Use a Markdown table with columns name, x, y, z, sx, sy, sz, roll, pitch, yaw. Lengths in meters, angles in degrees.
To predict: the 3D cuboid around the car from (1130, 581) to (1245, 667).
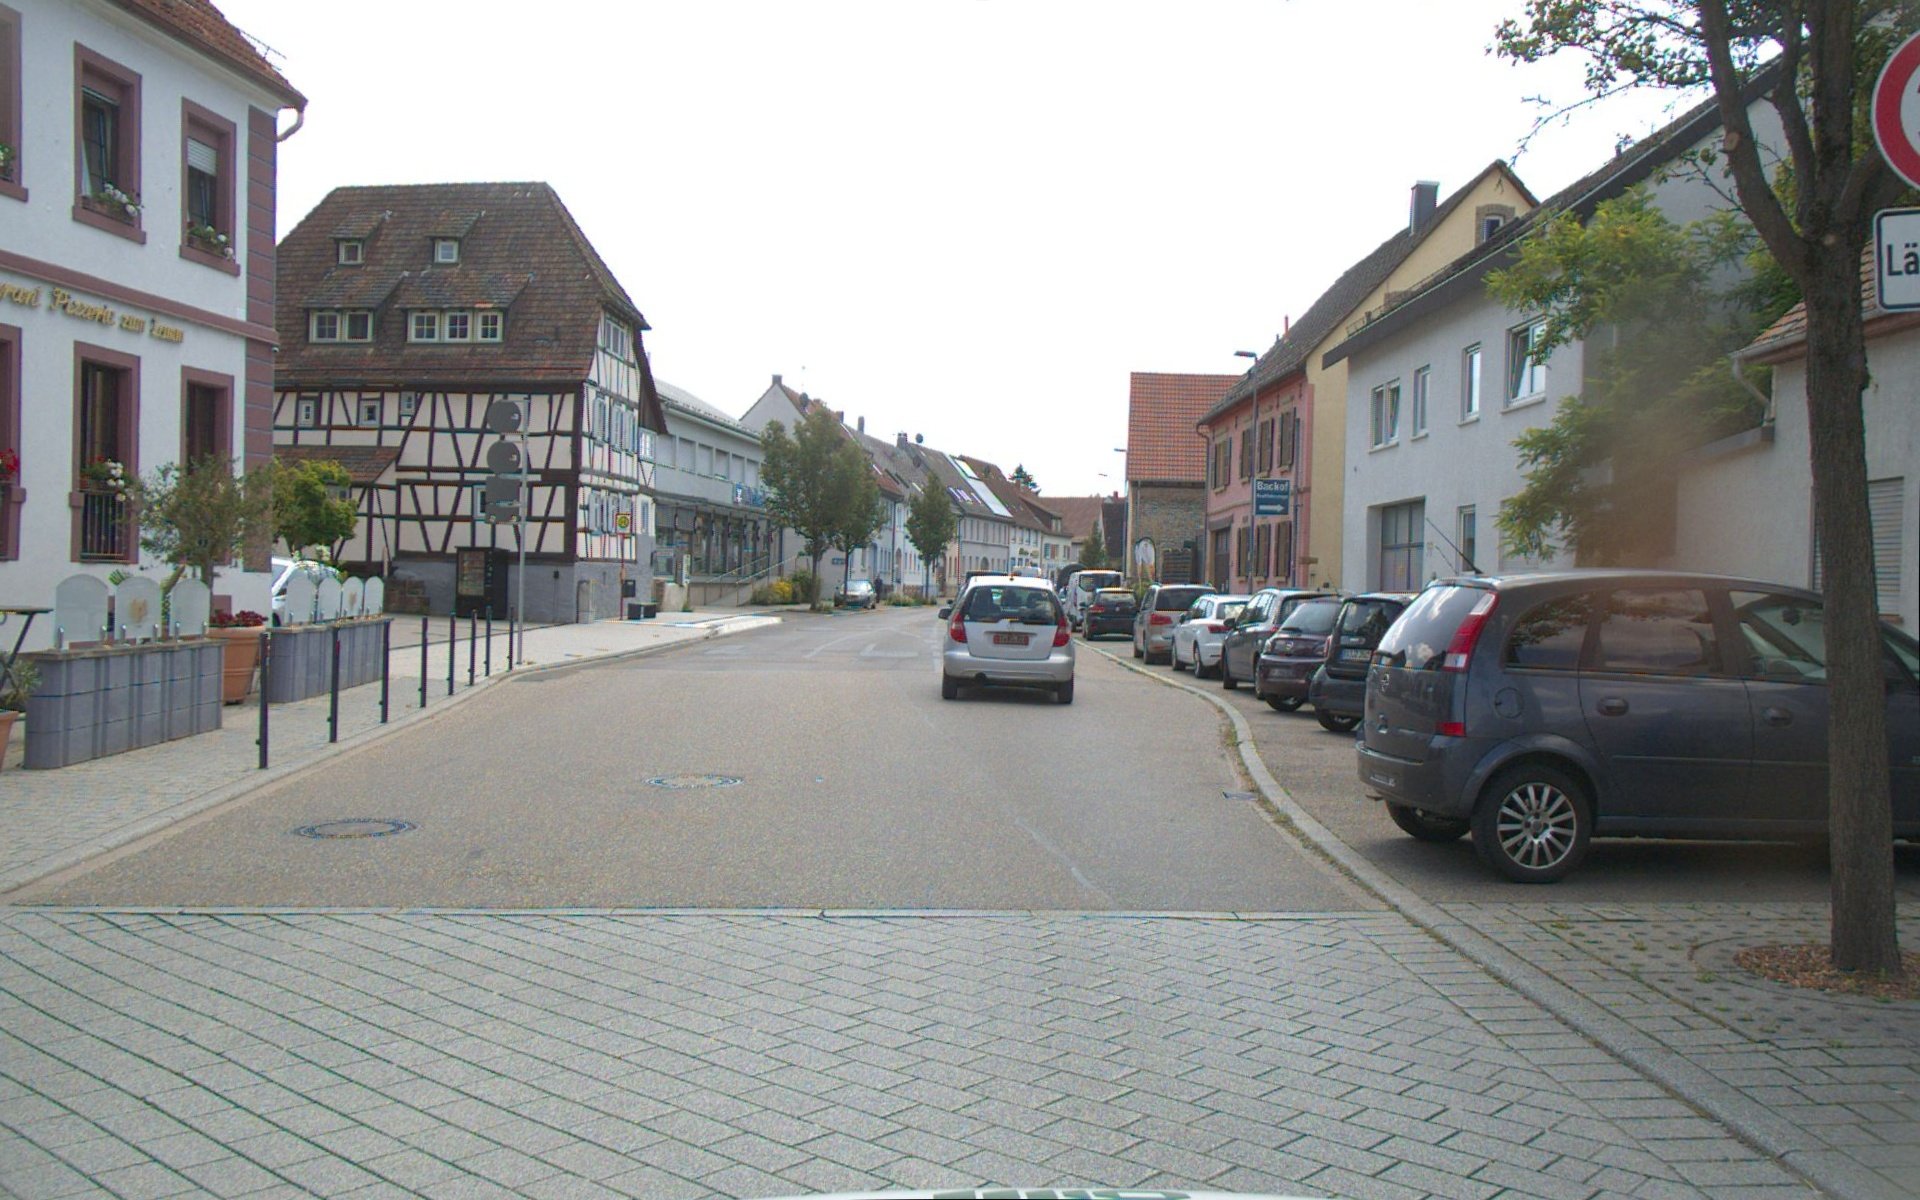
| name | x | y | z | sx | sy | sz | roll | pitch | yaw |
| --- | --- | --- | --- | --- | --- | --- | --- | --- | --- |
| car | 4.832 | 0.465 | 35.689 | 1.952 | 1.710 | 4.324 | 1 | 1 | 1 |

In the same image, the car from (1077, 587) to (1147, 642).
| name | x | y | z | sx | sy | sz | roll | pitch | yaw |
| --- | --- | --- | --- | --- | --- | --- | --- | --- | --- |
| car | 4.467 | 0.383 | 48.981 | 1.738 | 1.521 | 4.162 | 1 | 1 | 1 |

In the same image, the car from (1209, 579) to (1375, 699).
| name | x | y | z | sx | sy | sz | roll | pitch | yaw |
| --- | --- | --- | --- | --- | --- | --- | --- | --- | --- |
| car | 4.946 | 0.517 | 25.193 | 1.628 | 1.652 | 4.272 | 1 | 1 | 0 |

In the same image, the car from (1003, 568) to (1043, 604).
| name | x | y | z | sx | sy | sz | roll | pitch | yaw |
| --- | --- | --- | --- | --- | --- | --- | --- | --- | --- |
| car | 3.990 | -0.855 | 104.361 | 2.188 | 2.261 | 4.003 | 0 | 0 | 6 |

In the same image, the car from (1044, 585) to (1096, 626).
| name | x | y | z | sx | sy | sz | roll | pitch | yaw |
| --- | --- | --- | --- | --- | --- | --- | --- | --- | --- |
| car | 4.375 | 0.180 | 66.556 | 1.837 | 1.507 | 4.675 | 2 | 1 | 1 |

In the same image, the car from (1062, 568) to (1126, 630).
| name | x | y | z | sx | sy | sz | roll | pitch | yaw |
| --- | --- | --- | --- | --- | --- | --- | --- | --- | --- |
| car | 4.553 | -0.053 | 56.950 | 1.853 | 2.016 | 4.932 | -1 | 1 | 1 |

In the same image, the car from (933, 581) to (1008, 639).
| name | x | y | z | sx | sy | sz | roll | pitch | yaw |
| --- | --- | --- | --- | --- | --- | --- | --- | --- | --- |
| car | 0.291 | 0.241 | 44.622 | 1.905 | 1.432 | 4.000 | 1 | 1 | 0 |

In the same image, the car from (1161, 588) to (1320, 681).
| name | x | y | z | sx | sy | sz | roll | pitch | yaw |
| --- | --- | --- | --- | --- | --- | --- | --- | --- | --- |
| car | 5.063 | 0.574 | 30.462 | 1.954 | 1.544 | 4.369 | 1 | 1 | -3 |

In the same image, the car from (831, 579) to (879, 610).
| name | x | y | z | sx | sy | sz | roll | pitch | yaw |
| --- | --- | --- | --- | --- | --- | --- | --- | --- | --- |
| car | -5.343 | -0.293 | 84.561 | 1.766 | 1.486 | 4.161 | 2 | 1 | 5 |

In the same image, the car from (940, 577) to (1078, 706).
| name | x | y | z | sx | sy | sz | roll | pitch | yaw |
| --- | --- | --- | --- | --- | --- | --- | --- | --- | --- |
| car | 0.590 | 0.506 | 22.766 | 1.733 | 1.622 | 3.999 | 0 | 0 | -1 |

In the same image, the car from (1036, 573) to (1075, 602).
| name | x | y | z | sx | sy | sz | roll | pitch | yaw |
| --- | --- | --- | --- | --- | --- | --- | --- | --- | --- |
| car | 5.204 | -0.698 | 90.848 | 1.952 | 1.586 | 4.000 | 0 | 1 | 0 |

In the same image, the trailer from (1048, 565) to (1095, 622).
| name | x | y | z | sx | sy | sz | roll | pitch | yaw |
| --- | --- | --- | --- | --- | --- | --- | --- | --- | --- |
| trailer | 4.816 | -0.285 | 71.670 | 1.807 | 2.395 | 3.590 | 1 | 1 | 0 |

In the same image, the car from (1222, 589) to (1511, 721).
| name | x | y | z | sx | sy | sz | roll | pitch | yaw |
| --- | --- | --- | --- | --- | --- | --- | --- | --- | --- |
| car | 5.156 | 0.652 | 20.991 | 3.189 | 1.531 | 1.810 | 0 | 1 | -28 |

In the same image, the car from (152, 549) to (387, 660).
| name | x | y | z | sx | sy | sz | roll | pitch | yaw |
| --- | --- | --- | --- | --- | --- | --- | --- | --- | --- |
| car | -11.113 | 0.038 | 26.972 | 1.722 | 1.518 | 4.278 | 5 | 1 | 3 |

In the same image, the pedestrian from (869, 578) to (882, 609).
| name | x | y | z | sx | sy | sz | roll | pitch | yaw |
| --- | --- | --- | --- | --- | --- | --- | --- | --- | --- |
| pedestrian | -5.016 | -0.361 | 98.214 | 0.723 | 1.833 | 0.643 | 0 | 0 | 2 |

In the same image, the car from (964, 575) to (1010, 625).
| name | x | y | z | sx | sy | sz | roll | pitch | yaw |
| --- | --- | --- | --- | --- | --- | --- | --- | --- | --- |
| car | 1.144 | 0.003 | 68.901 | 1.732 | 1.920 | 4.448 | 4 | 0 | 2 |

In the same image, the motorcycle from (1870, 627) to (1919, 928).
| name | x | y | z | sx | sy | sz | roll | pitch | yaw |
| --- | --- | --- | --- | --- | --- | --- | --- | --- | --- |
| motorcycle | 4.606 | 0.787 | 6.577 | 0.616 | 1.321 | 2.180 | 0 | 0 | -5 |

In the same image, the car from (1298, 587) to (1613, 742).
| name | x | y | z | sx | sy | sz | roll | pitch | yaw |
| --- | --- | --- | --- | --- | --- | --- | --- | --- | --- |
| car | 5.369 | 0.653 | 18.010 | 2.741 | 1.531 | 1.865 | 1 | 1 | -23 |

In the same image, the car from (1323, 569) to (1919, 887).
| name | x | y | z | sx | sy | sz | roll | pitch | yaw |
| --- | --- | --- | --- | --- | --- | --- | --- | --- | --- |
| car | 4.196 | 0.639 | 9.504 | 3.771 | 1.605 | 1.850 | -1 | 1 | -3 |
